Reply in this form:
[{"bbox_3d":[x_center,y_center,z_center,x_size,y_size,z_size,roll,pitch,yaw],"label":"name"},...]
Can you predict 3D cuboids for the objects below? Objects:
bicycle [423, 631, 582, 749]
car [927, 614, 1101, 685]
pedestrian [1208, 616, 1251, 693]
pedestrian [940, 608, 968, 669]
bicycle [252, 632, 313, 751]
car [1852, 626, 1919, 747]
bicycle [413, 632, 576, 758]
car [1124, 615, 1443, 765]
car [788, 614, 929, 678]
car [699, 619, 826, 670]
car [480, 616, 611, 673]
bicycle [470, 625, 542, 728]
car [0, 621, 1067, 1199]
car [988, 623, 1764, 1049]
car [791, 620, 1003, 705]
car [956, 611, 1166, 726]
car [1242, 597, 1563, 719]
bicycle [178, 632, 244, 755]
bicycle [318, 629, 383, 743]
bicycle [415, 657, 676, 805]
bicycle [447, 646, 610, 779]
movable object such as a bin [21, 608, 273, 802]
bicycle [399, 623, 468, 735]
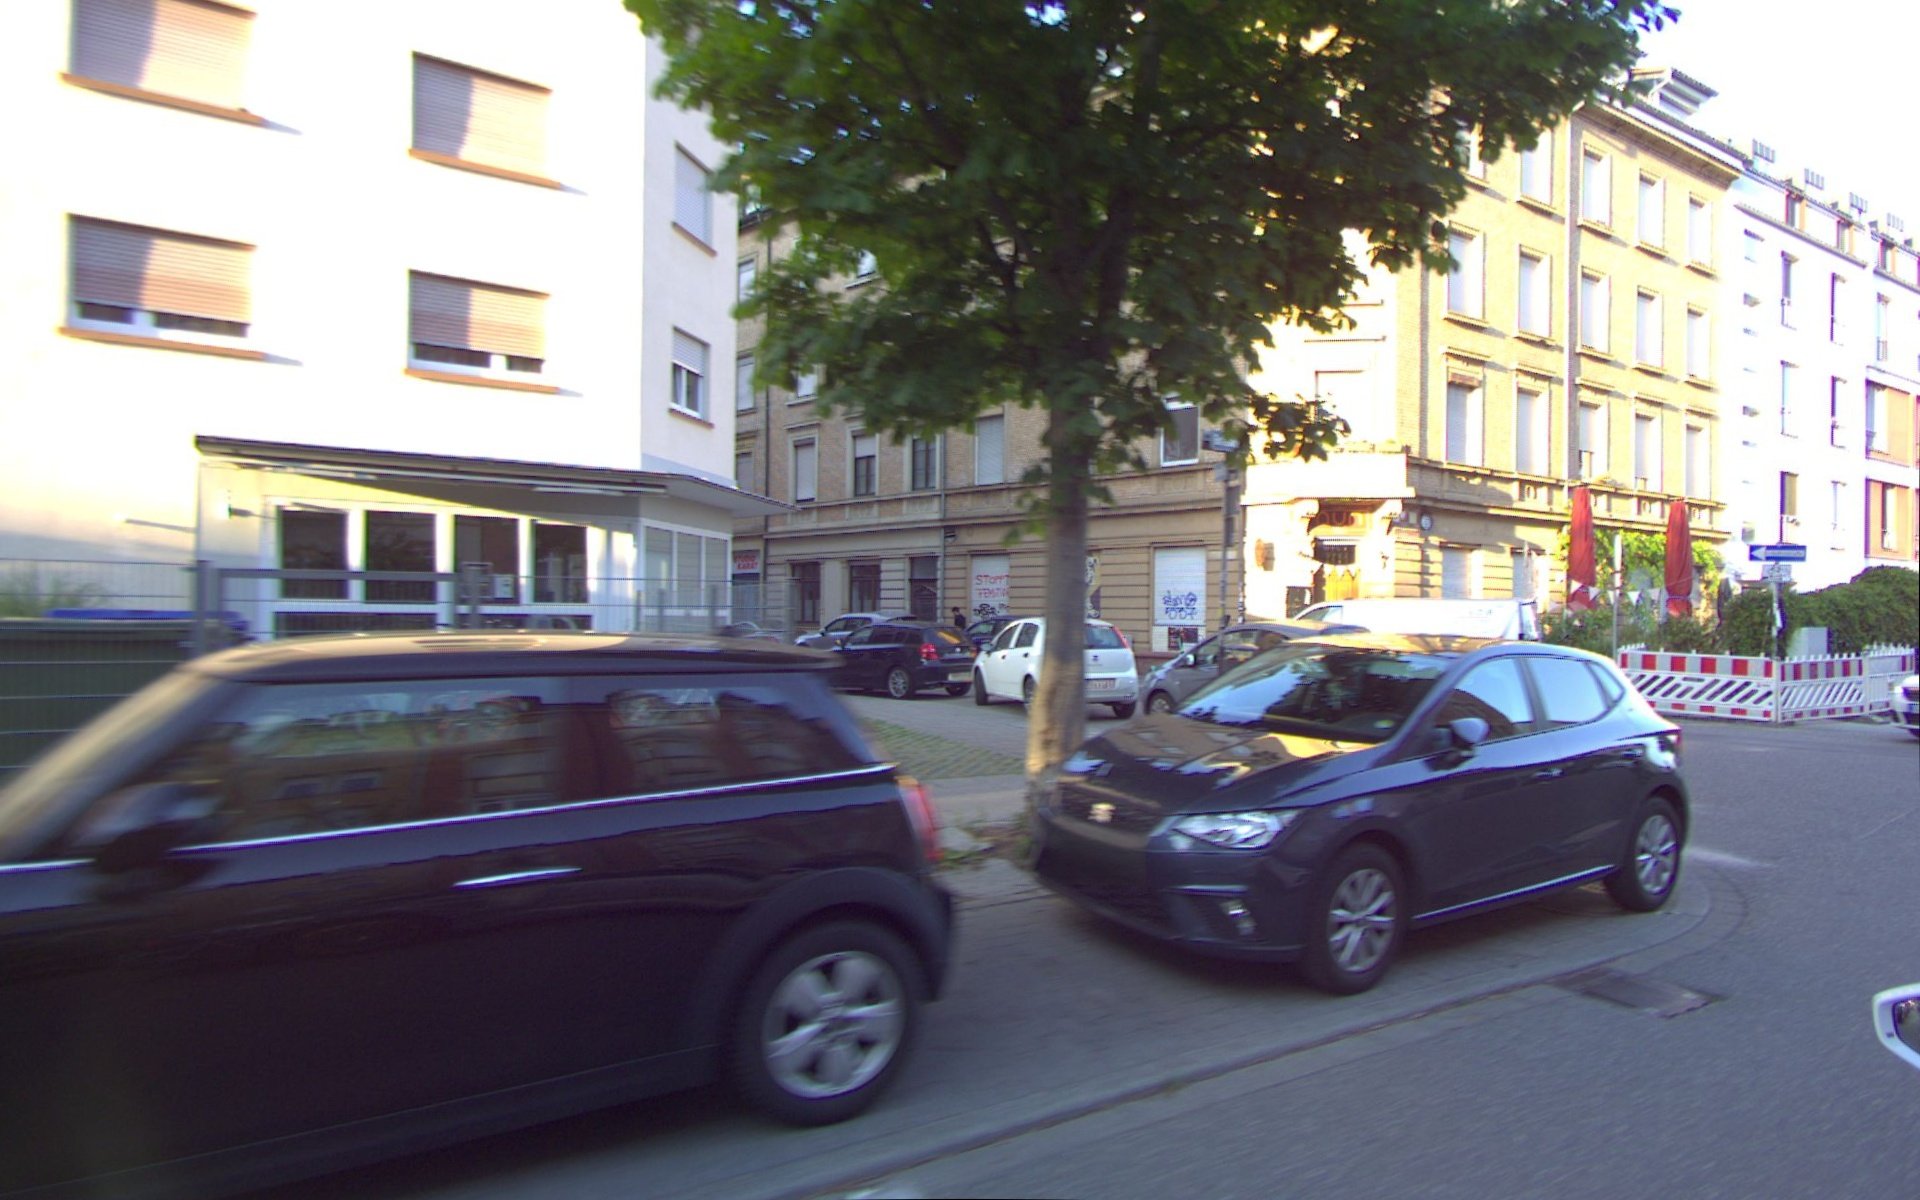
[{"bbox_3d":[-4.807,0.907,10.675,0.378,1.107,1.710,2,0,23],"label":"bicycle"},{"bbox_3d":[1.314,1.156,24.868,3.855,1.592,2.016,-1,-1,36],"label":"car"},{"bbox_3d":[5.912,1.176,22.002,0.772,1.640,0.711,2,1,25],"label":"pedestrian"},{"bbox_3d":[-0.168,1.103,28.758,0.491,1.709,0.592,2,1,38],"label":"pedestrian"},{"bbox_3d":[-7.243,0.927,10.711,0.496,1.107,1.533,1,1,-35],"label":"bicycle"},{"bbox_3d":[14.513,1.122,12.974,4.509,1.543,1.820,0,-2,-4],"label":"car"},{"bbox_3d":[-4.598,0.899,10.032,0.491,1.107,1.548,2,0,22],"label":"bicycle"},{"bbox_3d":[3.861,0.972,12.503,1.823,1.528,3.489,0,0,-30],"label":"car"},{"bbox_3d":[-2.825,1.204,27.533,3.940,1.644,1.577,-1,-1,40],"label":"car"},{"bbox_3d":[-6.206,1.342,31.366,3.940,1.446,1.835,-1,-1,40],"label":"car"},{"bbox_3d":[-11.822,1.216,28.540,3.938,1.487,1.780,-1,-1,39],"label":"car"},{"bbox_3d":[-5.499,0.883,12.138,0.496,1.107,1.533,1,1,-35],"label":"bicycle"},{"bbox_3d":[-1.859,0.811,3.075,4.090,1.439,1.735,1,0,-28],"label":"car"},{"bbox_3d":[2.445,0.899,5.471,4.414,1.481,1.665,1,0,-32],"label":"car"},{"bbox_3d":[-1.315,1.128,19.687,4.023,1.458,1.987,-1,-1,44],"label":"car"},{"bbox_3d":[1.469,1.004,16.306,1.942,1.528,4.057,1,0,-17],"label":"car"},{"bbox_3d":[8.249,0.976,18.990,5.211,2.001,2.200,0,-1,38],"label":"car"},{"bbox_3d":[-7.718,0.920,10.385,0.496,1.107,1.533,1,1,-35],"label":"bicycle"},{"bbox_3d":[-6.771,0.906,11.129,0.496,1.107,1.619,1,1,-35],"label":"bicycle"},{"bbox_3d":[-3.428,1.035,8.396,1.913,1.039,0.682,1,1,-36],"label":"bicycle"},{"bbox_3d":[-4.154,1.042,9.784,0.491,1.107,1.548,2,0,23],"label":"bicycle"},{"bbox_3d":[-6.320,0.770,7.914,1.381,1.370,0.863,1,1,-28],"label":"movable object such as a bin"},{"bbox_3d":[-6.095,0.871,11.593,0.496,1.156,1.533,1,1,-35],"label":"bicycle"}]
